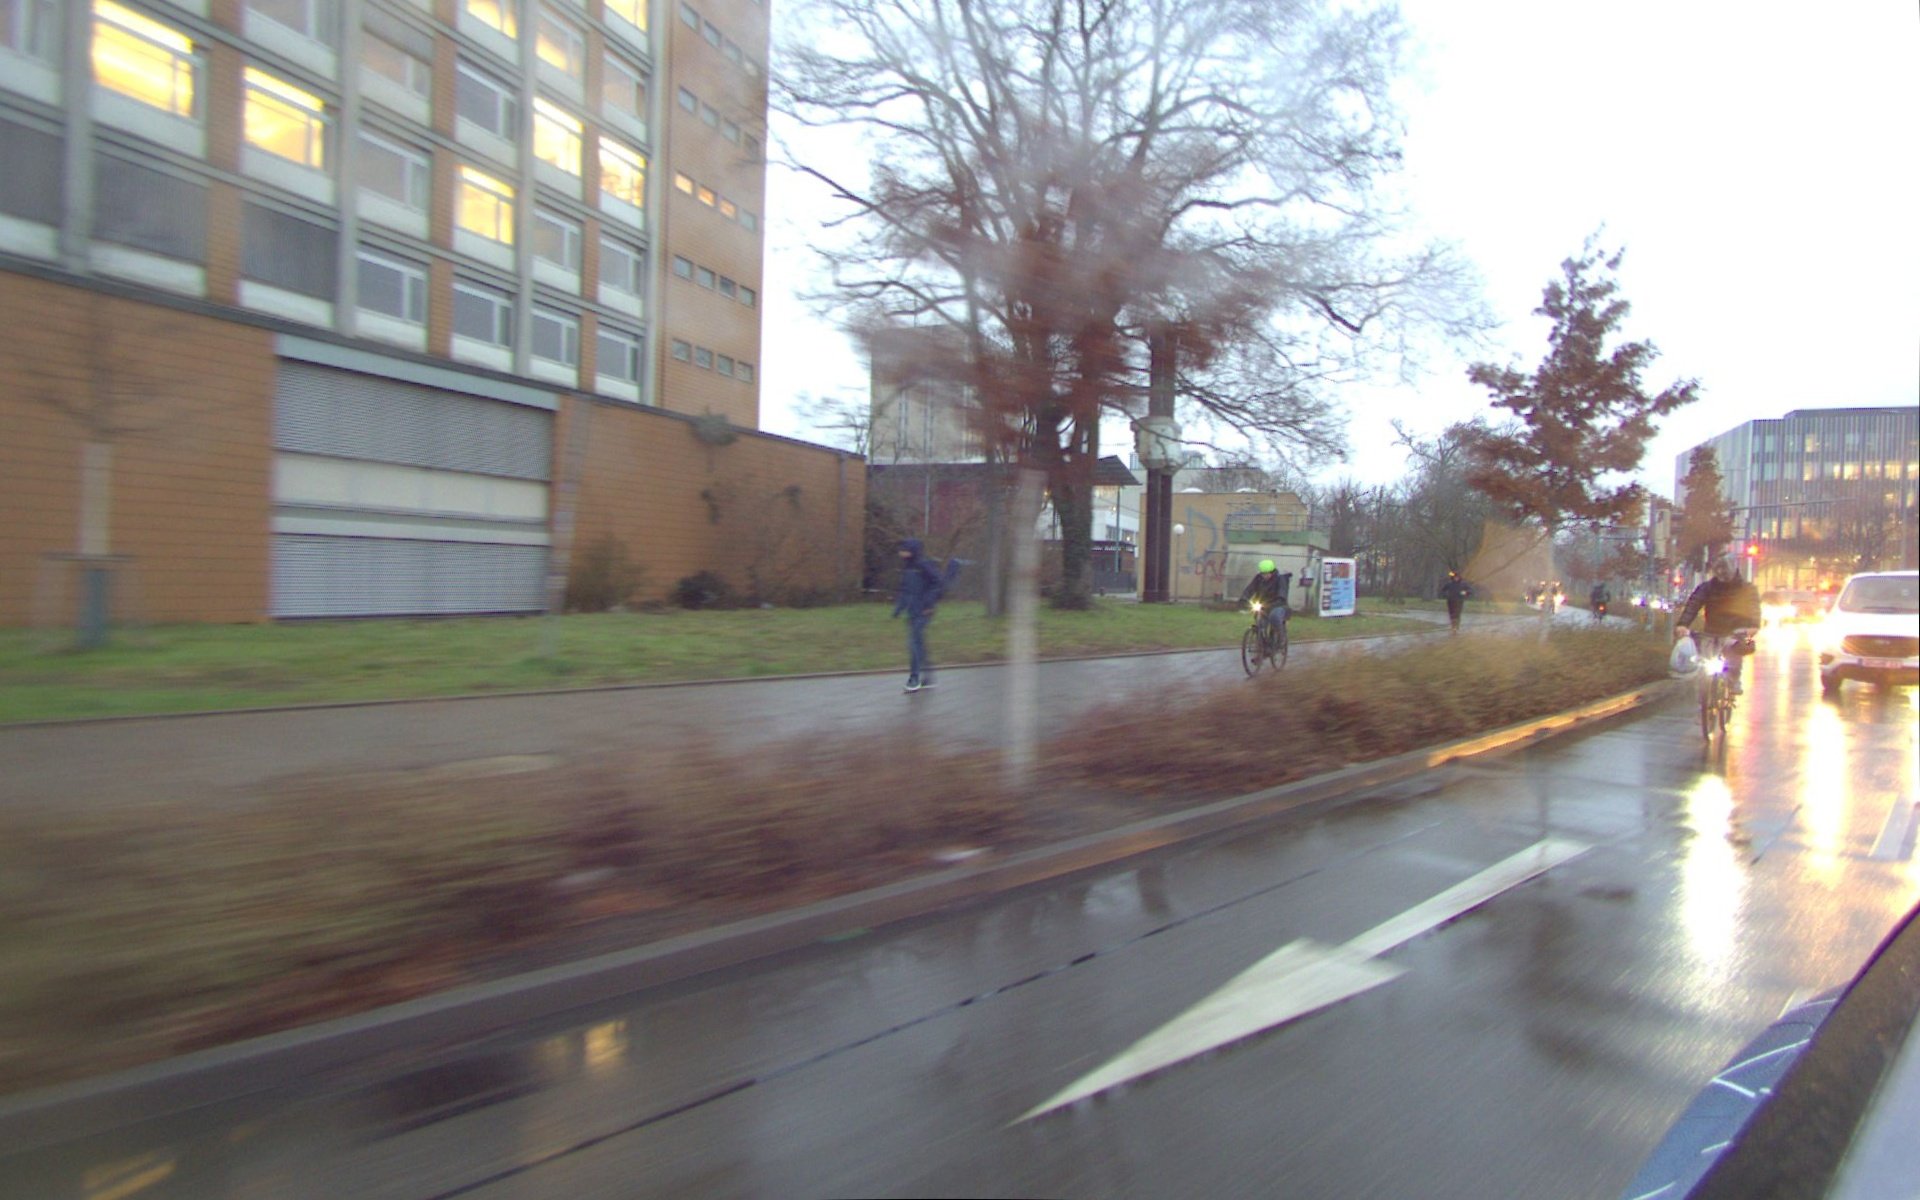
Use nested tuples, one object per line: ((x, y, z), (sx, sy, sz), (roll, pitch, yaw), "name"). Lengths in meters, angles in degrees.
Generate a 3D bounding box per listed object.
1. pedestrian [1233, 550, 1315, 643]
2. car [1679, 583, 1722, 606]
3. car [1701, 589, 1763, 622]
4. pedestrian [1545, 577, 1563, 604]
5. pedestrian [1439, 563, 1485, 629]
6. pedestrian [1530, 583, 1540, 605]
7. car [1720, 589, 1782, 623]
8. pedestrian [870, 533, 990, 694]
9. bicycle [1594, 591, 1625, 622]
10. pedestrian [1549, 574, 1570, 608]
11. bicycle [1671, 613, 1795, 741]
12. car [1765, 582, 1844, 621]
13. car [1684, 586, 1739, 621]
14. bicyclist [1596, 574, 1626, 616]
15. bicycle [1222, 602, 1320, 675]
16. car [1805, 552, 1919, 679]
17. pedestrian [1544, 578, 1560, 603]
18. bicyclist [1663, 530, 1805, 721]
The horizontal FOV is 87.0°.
((4.717, -0.070, 15.193), (0.874, 1.333, 0.836), (3, 3, 40), "pedestrian")
((57.924, -0.460, 79.212), (1.982, 1.586, 4.716), (4, 3, 28), "car")
((39.976, 0.252, 52.499), (1.759, 1.504, 4.427), (3, 3, 28), "car")
((41.198, -0.677, 70.170), (0.925, 1.848, 0.826), (3, 2, 28), "pedestrian")
((13.625, -0.099, 27.474), (0.907, 1.708, 0.916), (4, 1, 34), "pedestrian")
((55.712, -0.576, 98.100), (0.759, 2.038, 0.766), (2, 2, 27), "pedestrian")
((45.930, 0.290, 58.845), (1.982, 1.771, 4.427), (3, 3, 28), "car")
((-0.339, 0.125, 11.526), (1.053, 1.708, 0.808), (0, 4, -45), "pedestrian")
((26.733, 0.241, 41.638), (0.802, 1.155, 2.183), (6, 4, 37), "bicycle")
((33.956, -0.513, 57.332), (0.925, 1.848, 0.826), (3, 2, 28), "pedestrian")
((8.422, 0.778, 11.003), (1.872, 1.238, 0.793), (0, 0, -44), "bicycle")
((42.847, 0.025, 51.469), (1.982, 1.771, 4.898), (3, 3, 28), "car")
((42.891, 0.159, 57.867), (1.983, 1.860, 3.958), (3, 2, 30), "car")
((26.778, -0.217, 41.635), (0.802, 1.637, 1.071), (6, 4, 38), "bicyclist")
((4.693, 0.545, 15.165), (0.561, 0.958, 2.063), (4, 3, 42), "bicycle")
((16.517, 0.334, 17.048), (4.919, 1.945, 2.139), (3, 0, -33), "car")
((44.511, -0.700, 76.142), (0.925, 1.848, 0.826), (3, 2, 28), "pedestrian")
((8.362, 0.245, 10.933), (1.215, 1.907, 1.025), (0, 0, -43), "bicyclist")
